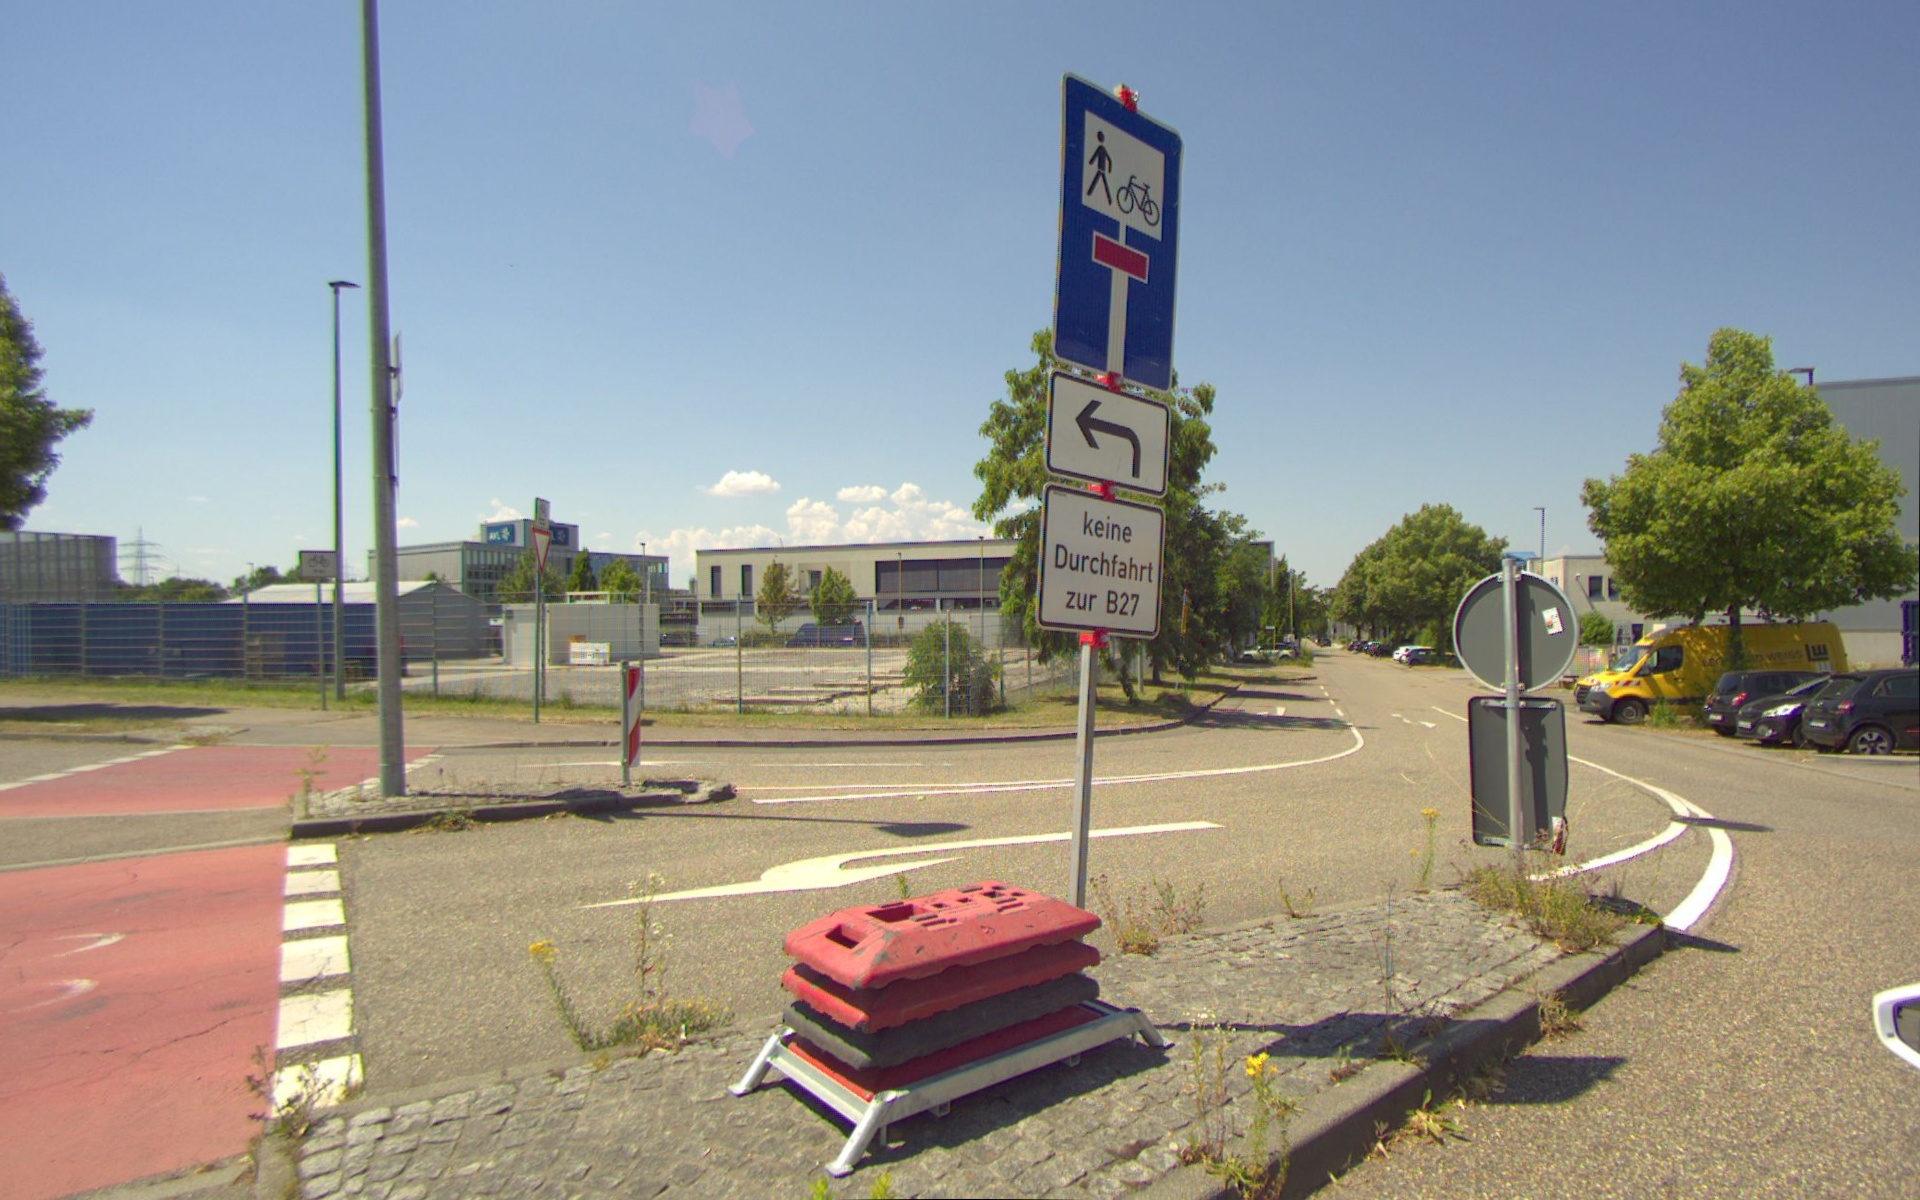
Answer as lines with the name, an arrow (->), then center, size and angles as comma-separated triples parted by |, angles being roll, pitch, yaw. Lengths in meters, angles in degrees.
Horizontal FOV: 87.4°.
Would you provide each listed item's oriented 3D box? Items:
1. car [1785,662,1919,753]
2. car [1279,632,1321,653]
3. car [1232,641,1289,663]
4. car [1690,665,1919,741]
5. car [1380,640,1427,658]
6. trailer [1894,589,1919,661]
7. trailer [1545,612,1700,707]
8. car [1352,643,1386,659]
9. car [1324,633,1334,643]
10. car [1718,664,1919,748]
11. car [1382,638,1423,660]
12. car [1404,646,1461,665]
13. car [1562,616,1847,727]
car -> 16.924, 1.836, 17.443 | 3.600, 1.481, 1.628 | -2, -3, 19
car -> 26.690, 3.324, 78.916 | 3.005, 1.498, 1.294 | 1, -2, 12
car -> 22.521, 3.867, 75.363 | 3.978, 1.514, 1.730 | 1, -2, 16
car -> 18.459, 2.213, 22.065 | 3.541, 1.498, 1.629 | 0, -2, 17
car -> 37.966, 4.203, 86.085 | 3.457, 1.372, 1.539 | -2, -3, 14
trailer -> 33.964, 0.952, 32.603 | 2.615, 2.453, 7.412 | 1, 2, 20
trailer -> 22.077, 1.979, 33.825 | 2.611, 2.894, 5.523 | -2, -3, 15
car -> 54.151, 6.740, 133.143 | 3.864, 1.860, 1.767 | 1, 2, 11
car -> 67.289, 6.860, 183.204 | 1.732, 1.778, 3.946 | 1, -2, 19
car -> 17.464, 2.049, 19.769 | 3.707, 1.527, 1.592 | 0, -2, 16
car -> 45.536, 5.072, 103.388 | 3.660, 2.138, 1.814 | 1, -2, 18
car -> 35.986, 4.226, 76.631 | 3.617, 1.372, 1.646 | -3, -3, 14
car -> 19.601, 1.871, 26.785 | 5.682, 2.769, 2.001 | -1, -1, 17
